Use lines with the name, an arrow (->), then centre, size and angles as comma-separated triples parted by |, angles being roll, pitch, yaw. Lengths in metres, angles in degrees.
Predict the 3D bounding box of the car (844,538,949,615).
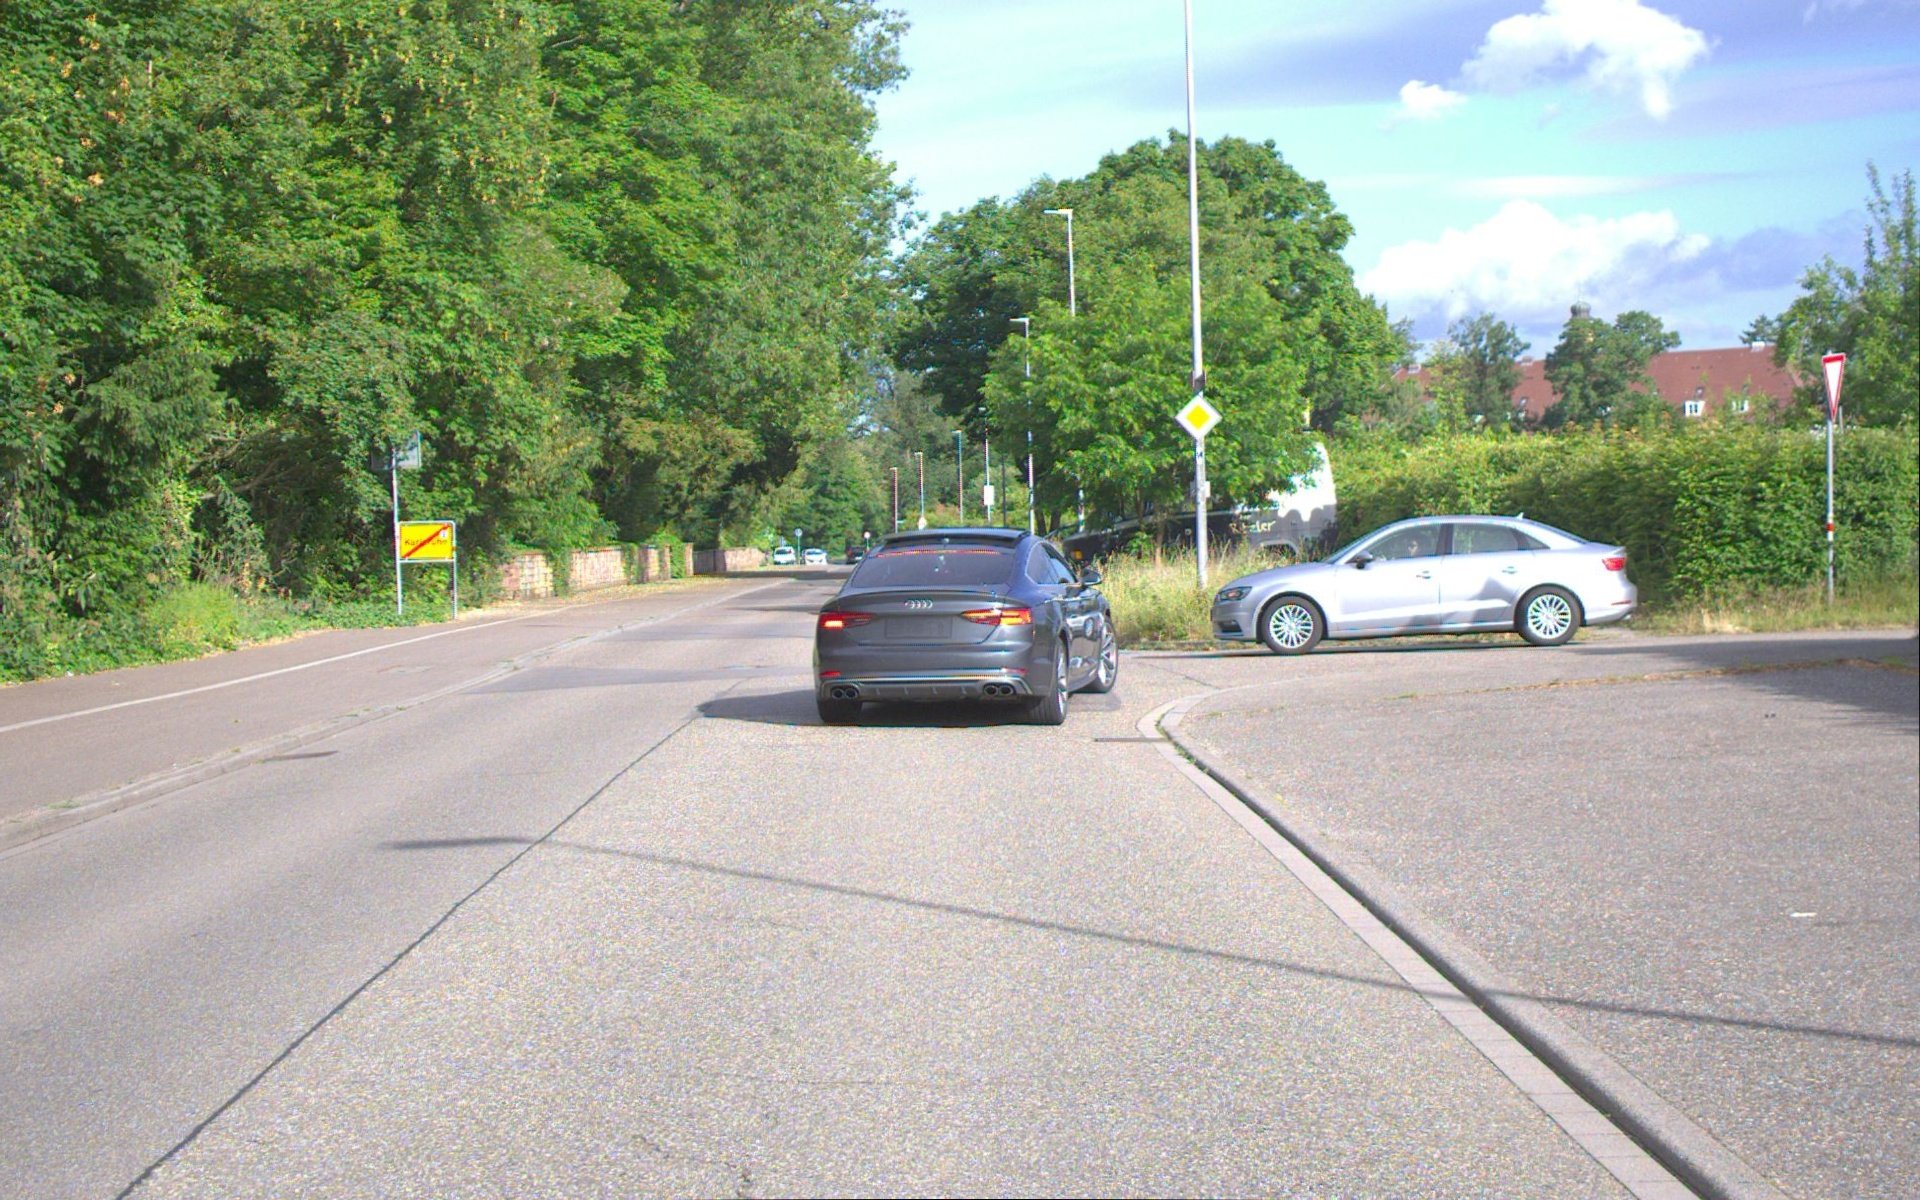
car -> -1.207, -0.450, 64.882 | 1.886, 1.367, 4.055 | -1, 1, -2

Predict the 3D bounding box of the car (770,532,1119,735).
car -> -0.020, 0.196, 26.482 | 1.967, 1.429, 4.334 | 0, 1, 10

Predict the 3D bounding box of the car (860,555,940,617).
car -> -1.510, -0.364, 85.496 | 1.886, 1.460, 4.055 | -1, 1, -2

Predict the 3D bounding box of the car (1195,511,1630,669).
car -> 4.717, -0.106, 36.169 | 4.363, 1.438, 1.932 | -2, 0, 6

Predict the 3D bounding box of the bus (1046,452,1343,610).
bus -> 4.471, -1.335, 66.027 | 5.364, 2.737, 2.069 | -3, 1, -3
